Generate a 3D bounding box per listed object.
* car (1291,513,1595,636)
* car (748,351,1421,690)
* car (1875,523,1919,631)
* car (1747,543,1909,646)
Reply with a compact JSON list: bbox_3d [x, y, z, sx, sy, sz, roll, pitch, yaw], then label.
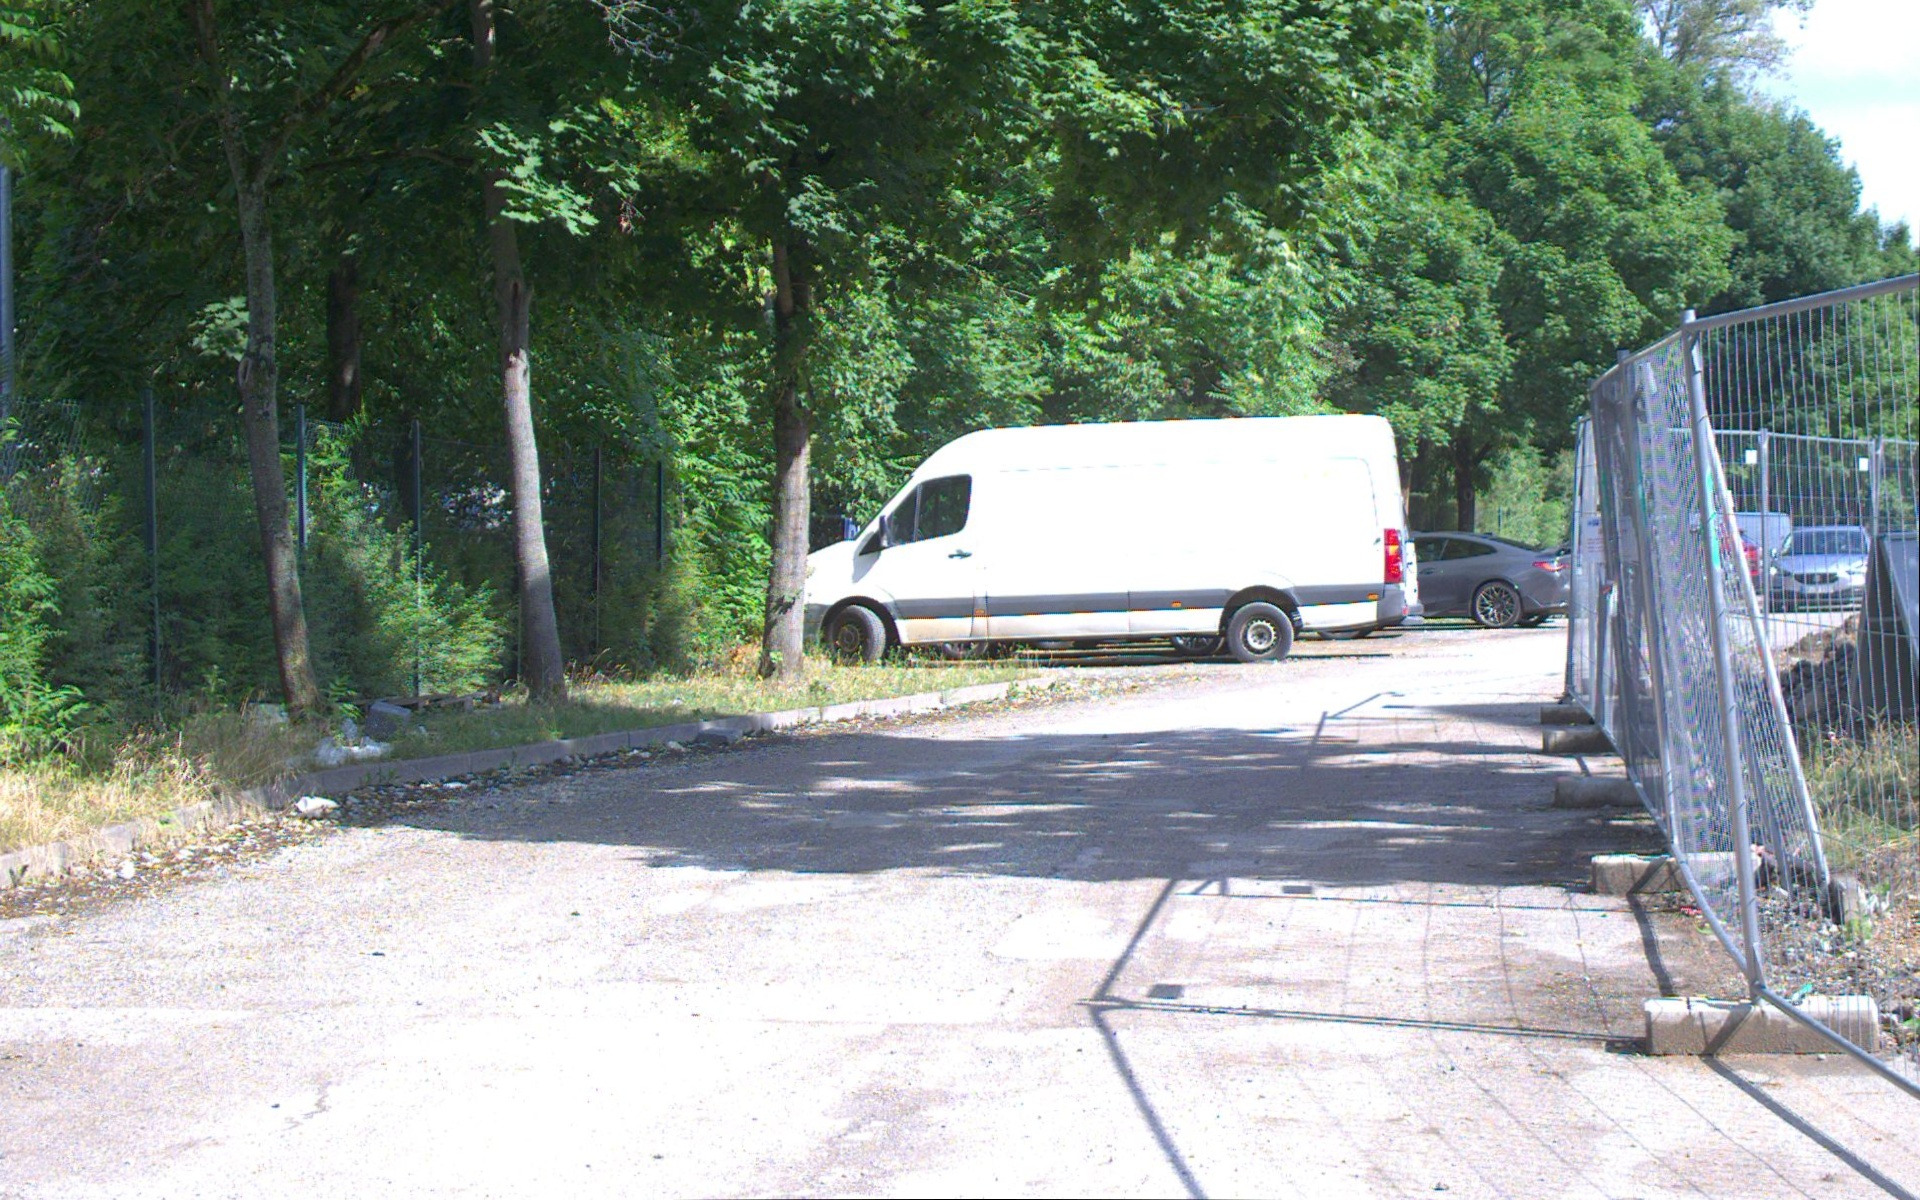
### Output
[{"bbox_3d":[6.970,-0.366,49.571,3.991,1.423,1.843,4,-1,18],"label":"car"},{"bbox_3d":[1.388,-0.869,37.606,6.954,3.037,2.000,5,1,6],"label":"car"},{"bbox_3d":[15.397,-0.173,47.878,4.859,1.423,1.842,4,-1,23],"label":"car"},{"bbox_3d":[14.545,-0.069,57.475,1.841,1.423,3.994,4,-1,25],"label":"car"}]
